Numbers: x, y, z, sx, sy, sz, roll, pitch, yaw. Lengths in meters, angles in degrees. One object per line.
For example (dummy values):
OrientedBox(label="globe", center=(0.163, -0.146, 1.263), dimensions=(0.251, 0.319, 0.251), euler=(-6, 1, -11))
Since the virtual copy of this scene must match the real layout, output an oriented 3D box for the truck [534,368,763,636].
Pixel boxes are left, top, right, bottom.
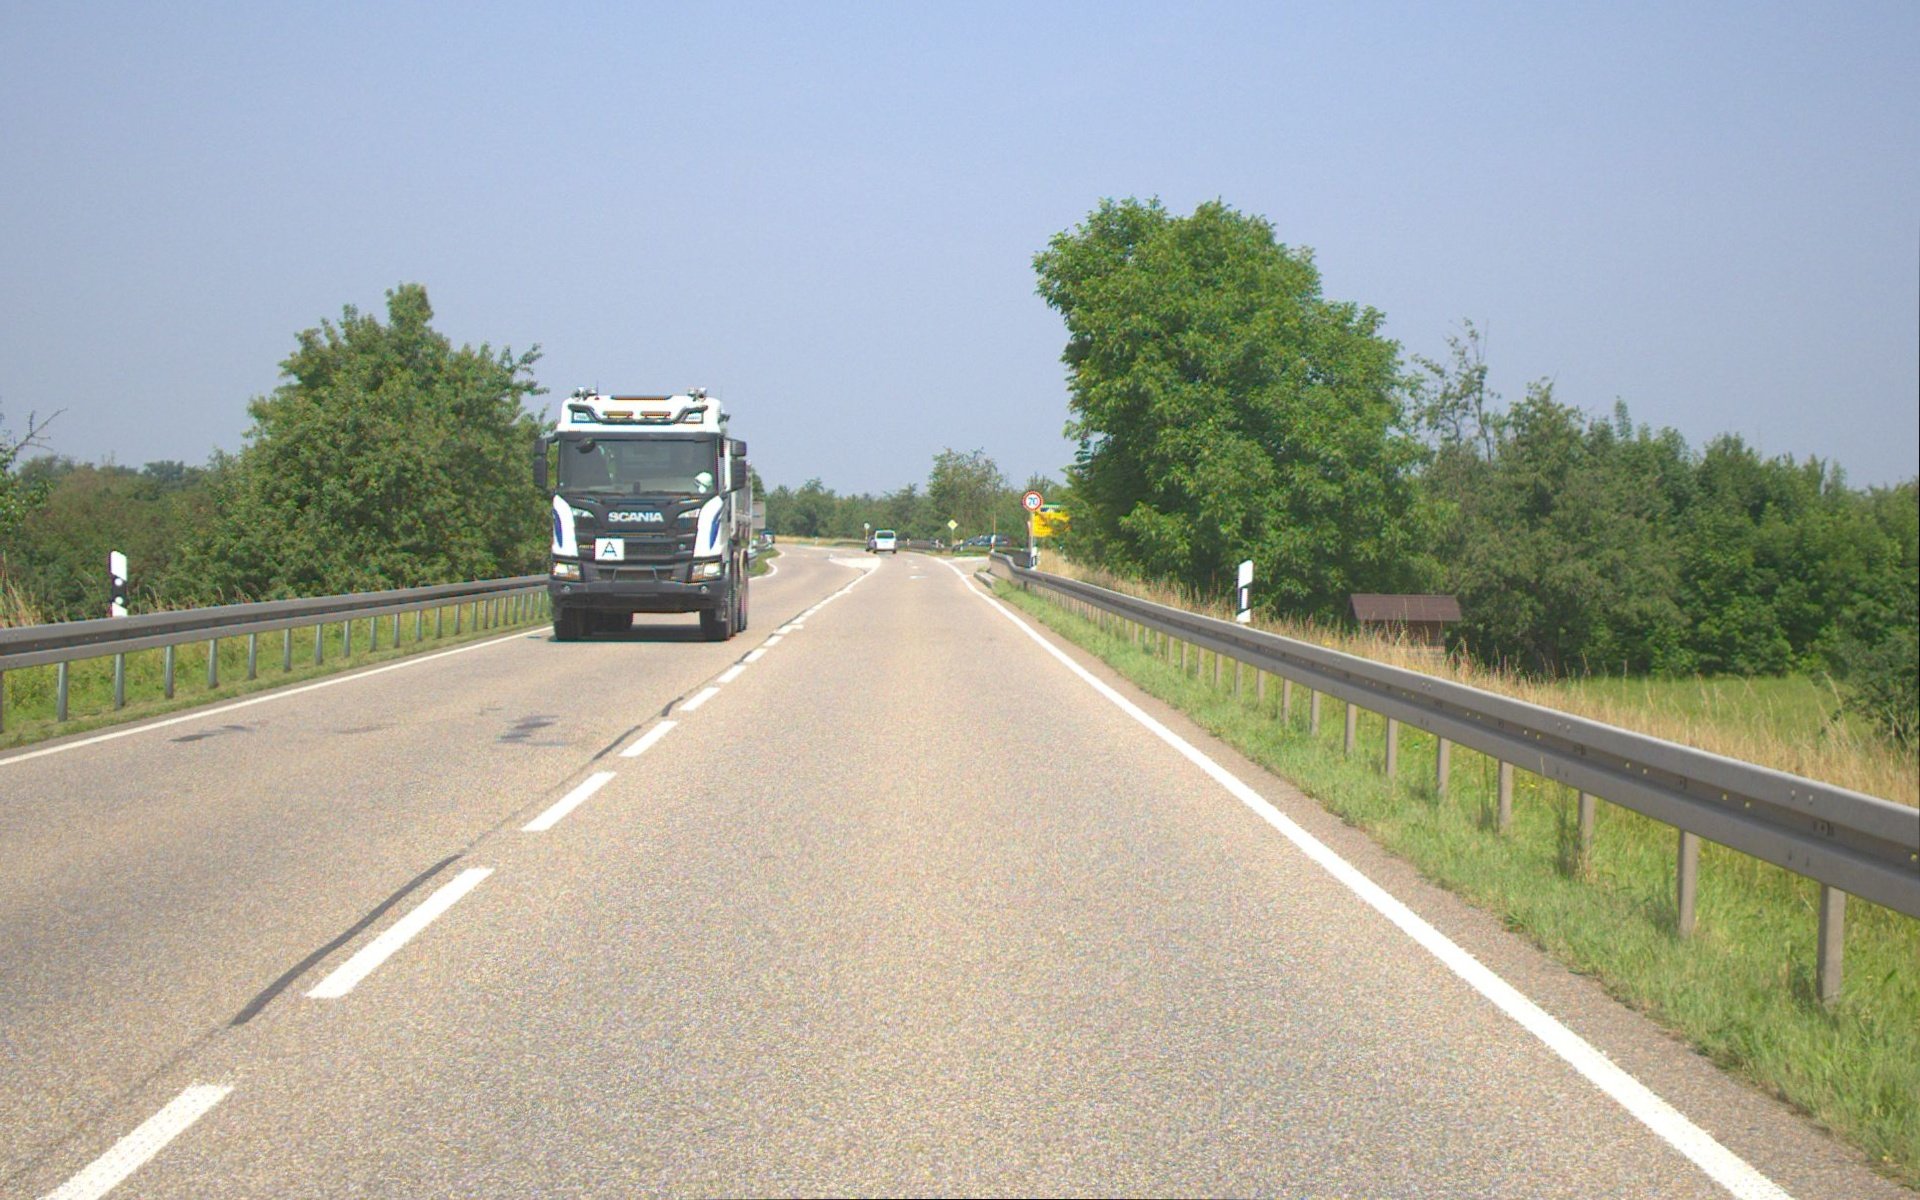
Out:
OrientedBox(label="truck", center=(-4.558, -1.403, 51.998), dimensions=(2.728, 3.659, 9.384), euler=(1, 1, -1))
